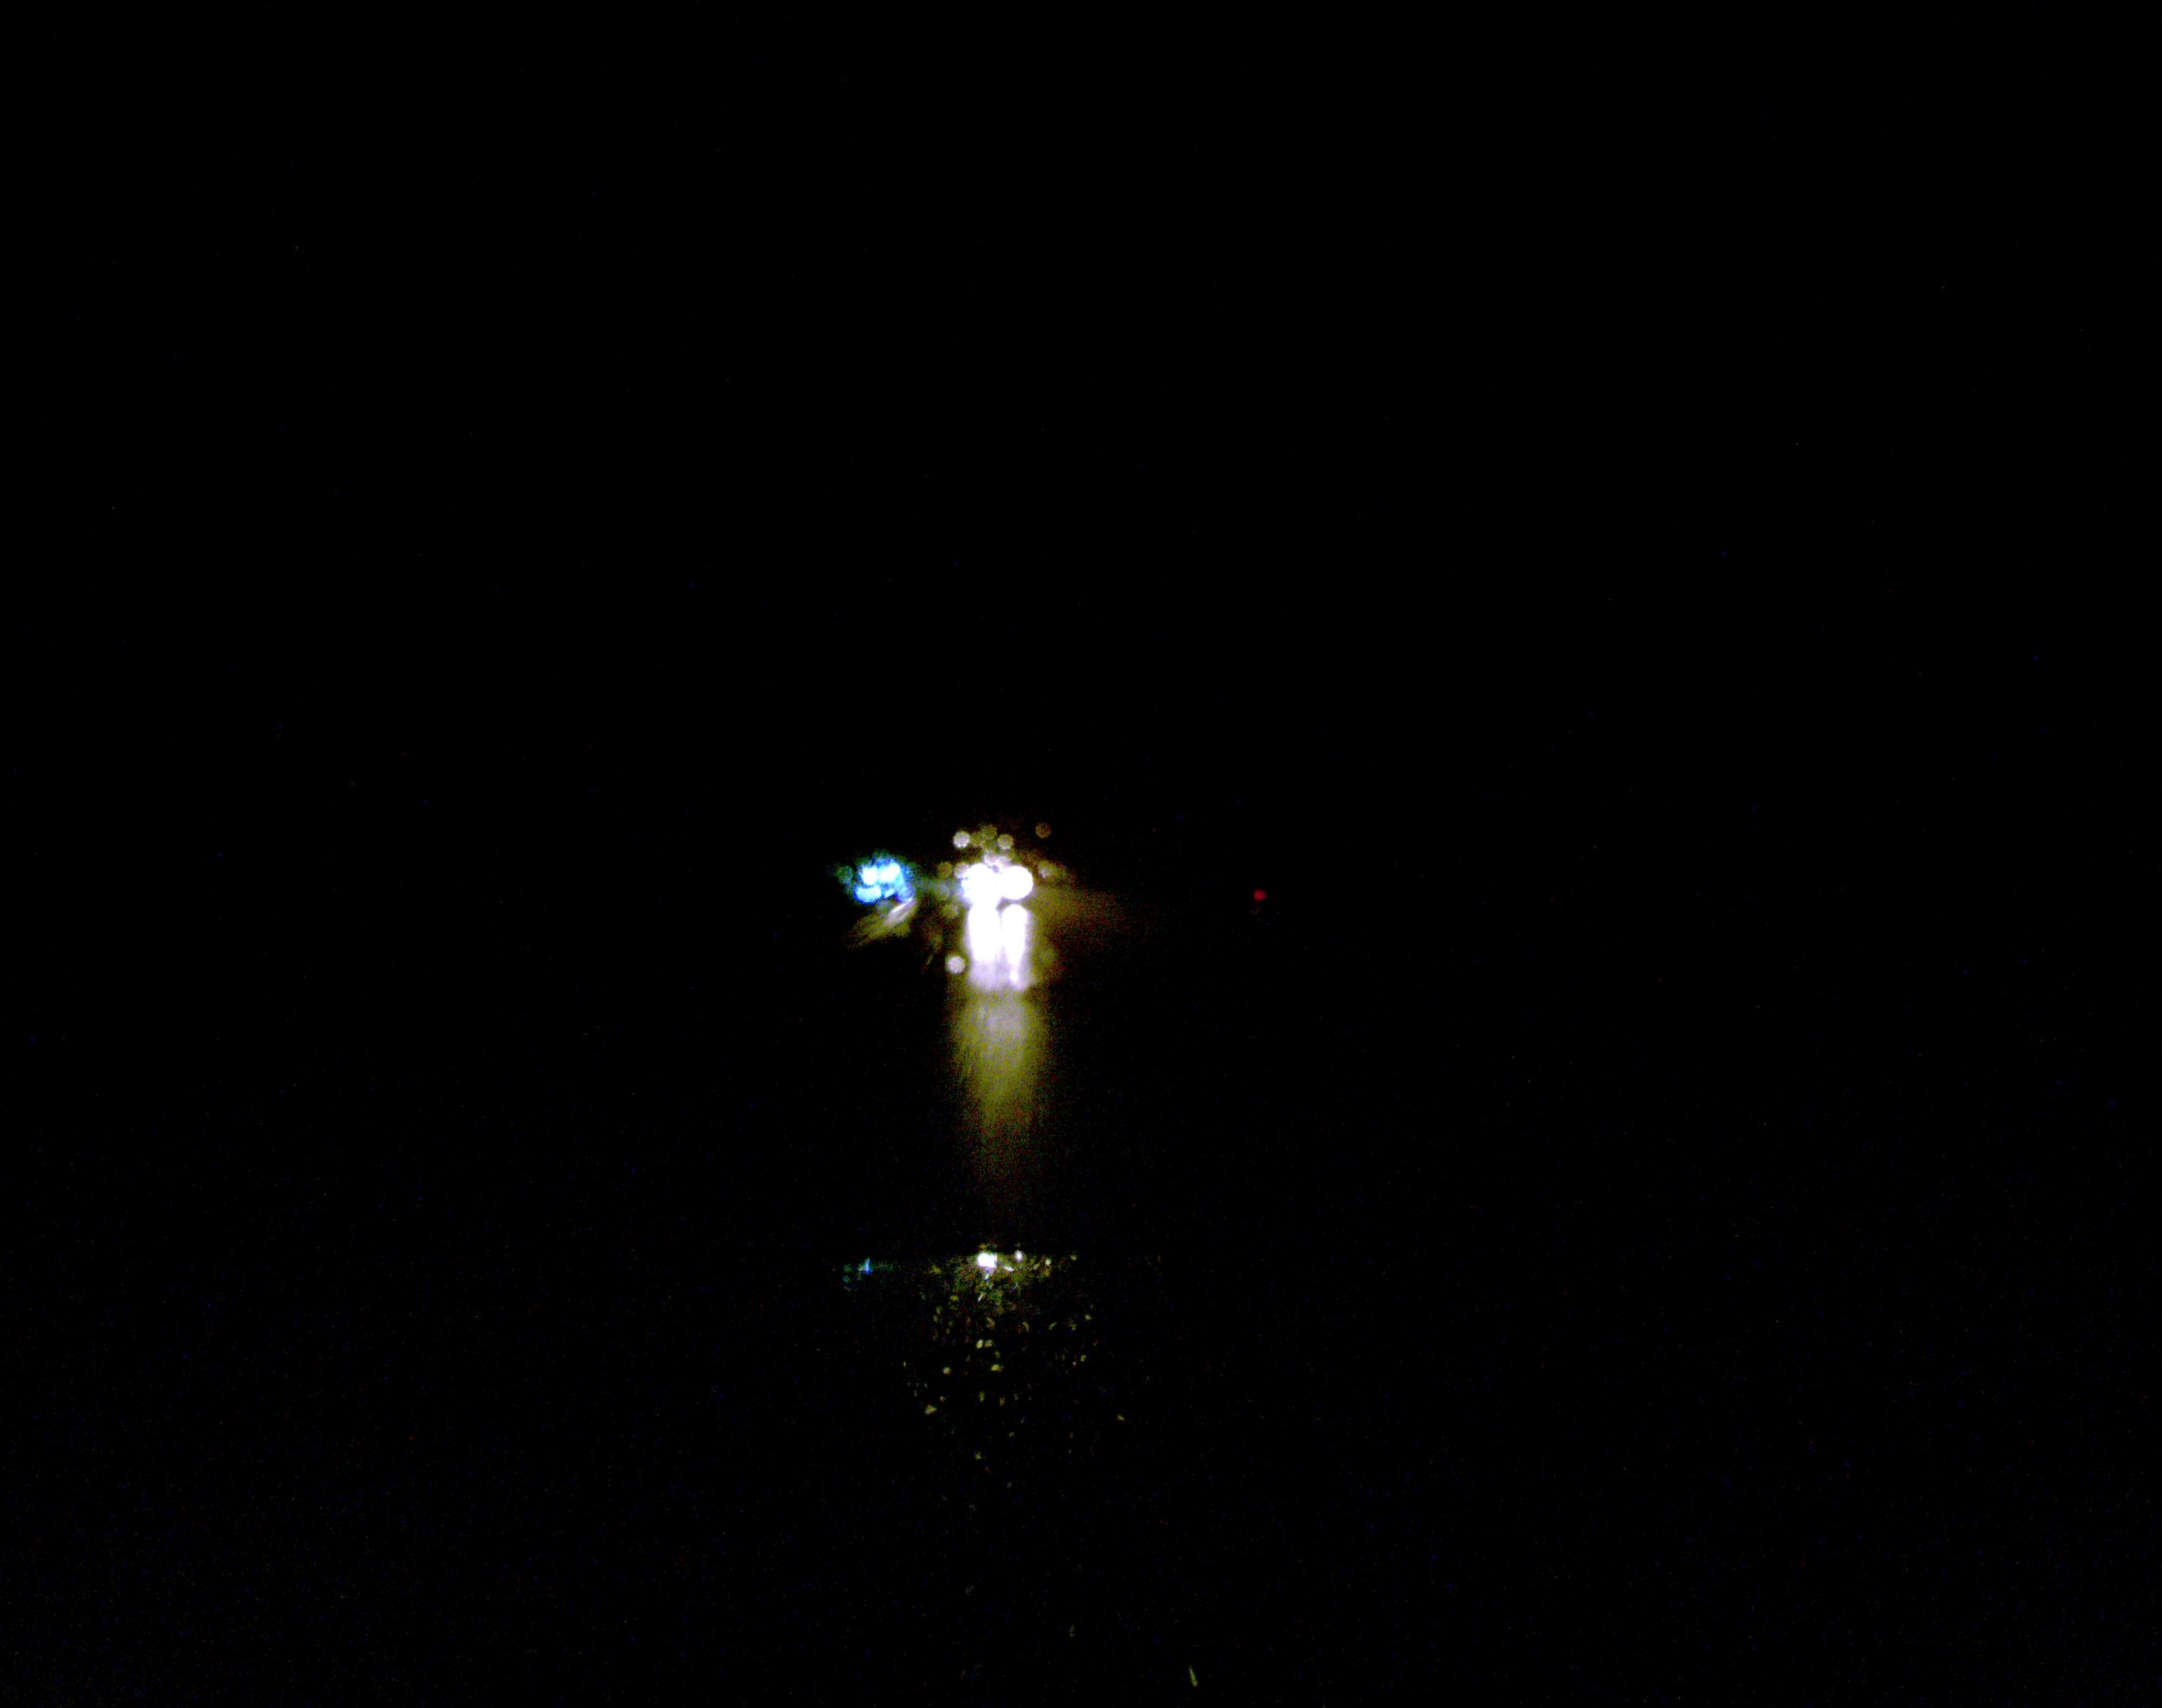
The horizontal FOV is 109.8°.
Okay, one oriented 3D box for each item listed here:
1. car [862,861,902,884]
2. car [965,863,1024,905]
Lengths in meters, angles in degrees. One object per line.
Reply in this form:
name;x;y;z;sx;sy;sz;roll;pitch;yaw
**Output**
car;-14.143;1.311;53.849;1.853;1.440;3.868;-4;0;-27
car;-3.475;1.109;29.808;1.851;1.441;3.995;-2;0;-13
